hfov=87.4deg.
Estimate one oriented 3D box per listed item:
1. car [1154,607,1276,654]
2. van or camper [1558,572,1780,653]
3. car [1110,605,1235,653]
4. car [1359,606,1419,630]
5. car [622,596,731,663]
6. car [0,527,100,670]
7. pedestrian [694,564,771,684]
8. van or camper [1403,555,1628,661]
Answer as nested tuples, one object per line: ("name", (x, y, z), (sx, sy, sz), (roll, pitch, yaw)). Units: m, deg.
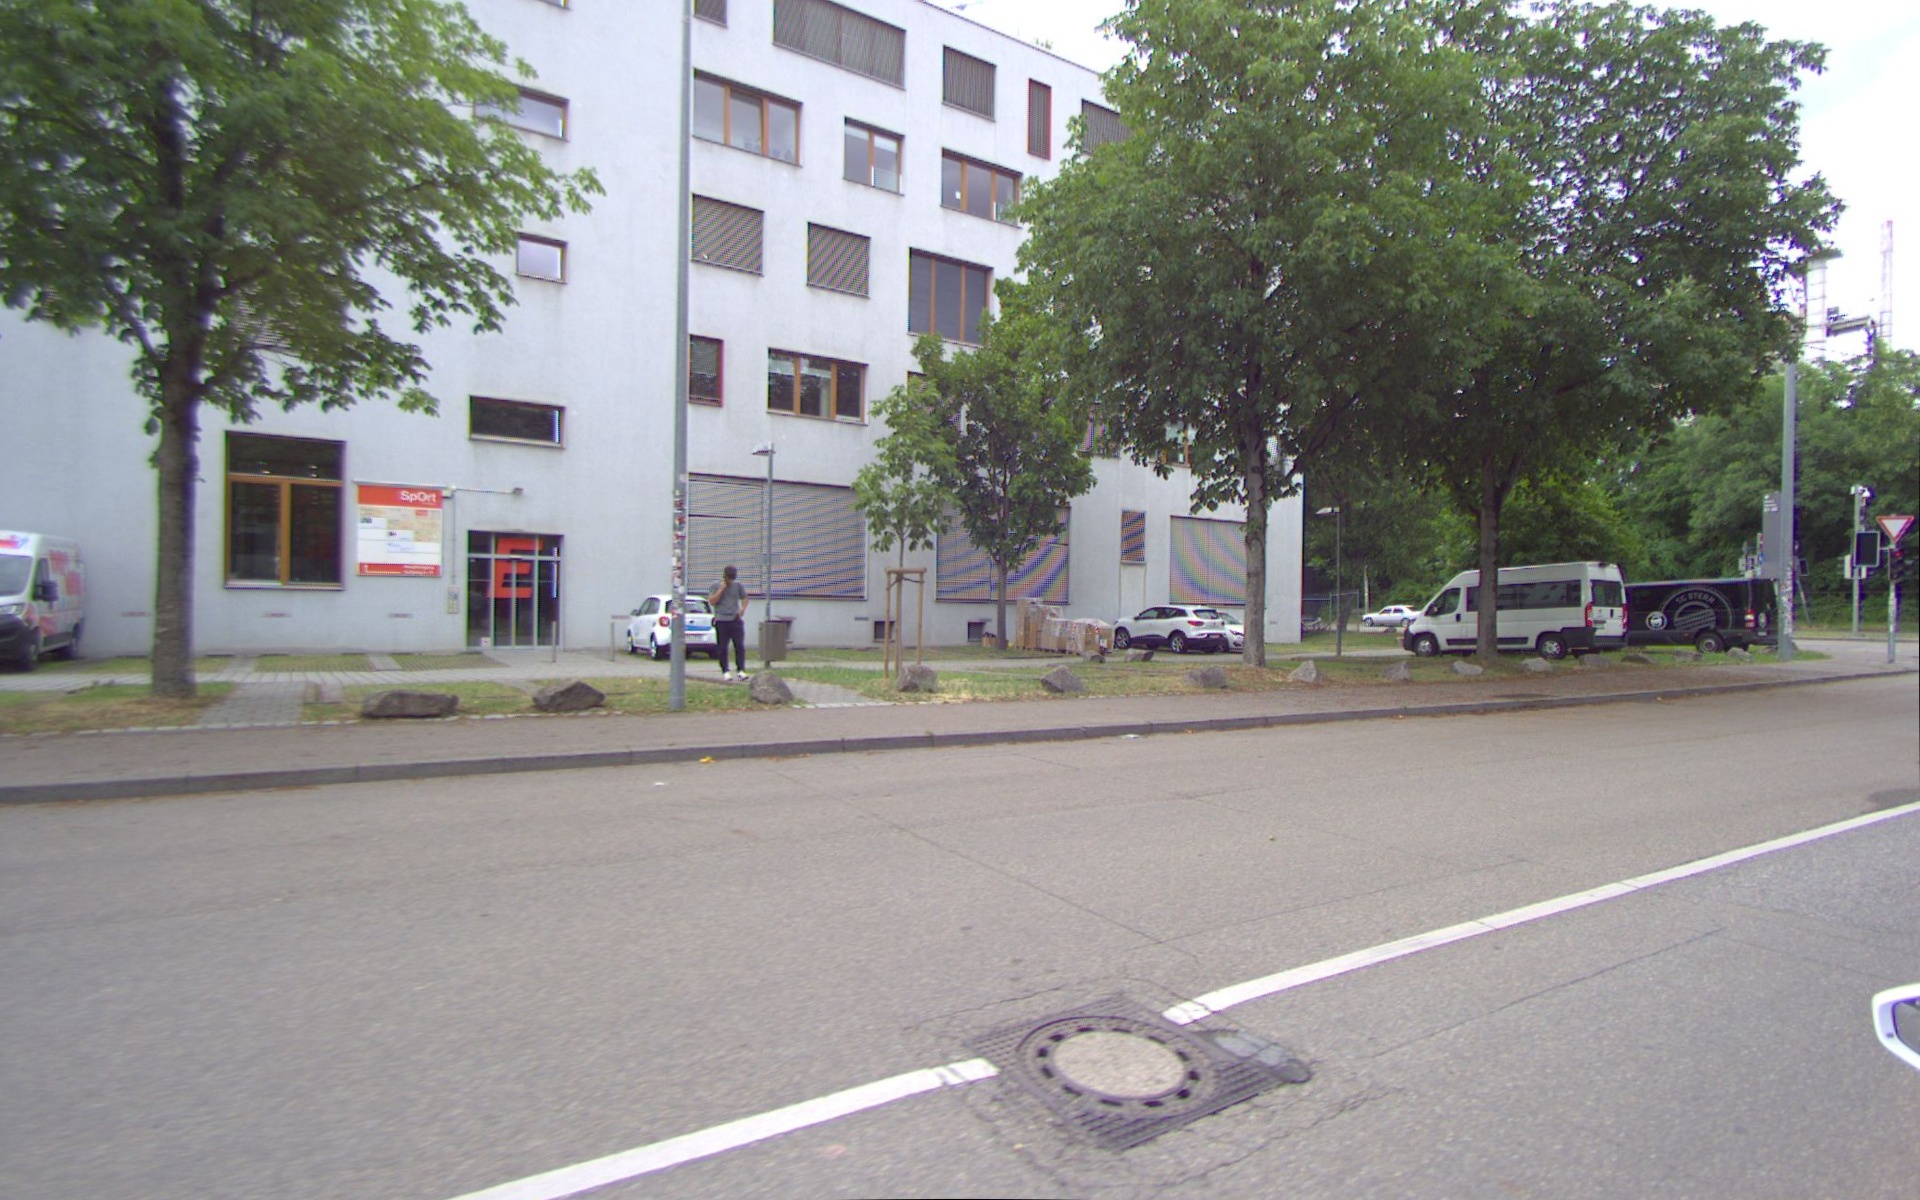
("car", (9.118, 1.080, 36.146), (1.882, 1.475, 3.970), (3, -1, -36))
("van or camper", (22.672, 0.502, 32.425), (2.038, 2.343, 5.510), (2, -3, -30))
("car", (7.242, 0.968, 34.595), (1.882, 1.475, 3.970), (3, -1, -36))
("car", (27.993, 1.147, 65.615), (1.483, 1.440, 3.283), (2, 0, -32))
("car", (-7.194, 0.702, 25.249), (1.674, 1.520, 3.592), (2, -1, -32))
("car", (-17.619, -0.079, 18.300), (2.056, 2.309, 5.595), (2, -1, -32))
("pedestrian", (-3.344, 0.350, 14.773), (0.779, 1.694, 0.837), (2, 0, -37))
("van or camper", (14.966, 0.195, 27.343), (2.040, 2.604, 4.940), (2, 0, -33))
